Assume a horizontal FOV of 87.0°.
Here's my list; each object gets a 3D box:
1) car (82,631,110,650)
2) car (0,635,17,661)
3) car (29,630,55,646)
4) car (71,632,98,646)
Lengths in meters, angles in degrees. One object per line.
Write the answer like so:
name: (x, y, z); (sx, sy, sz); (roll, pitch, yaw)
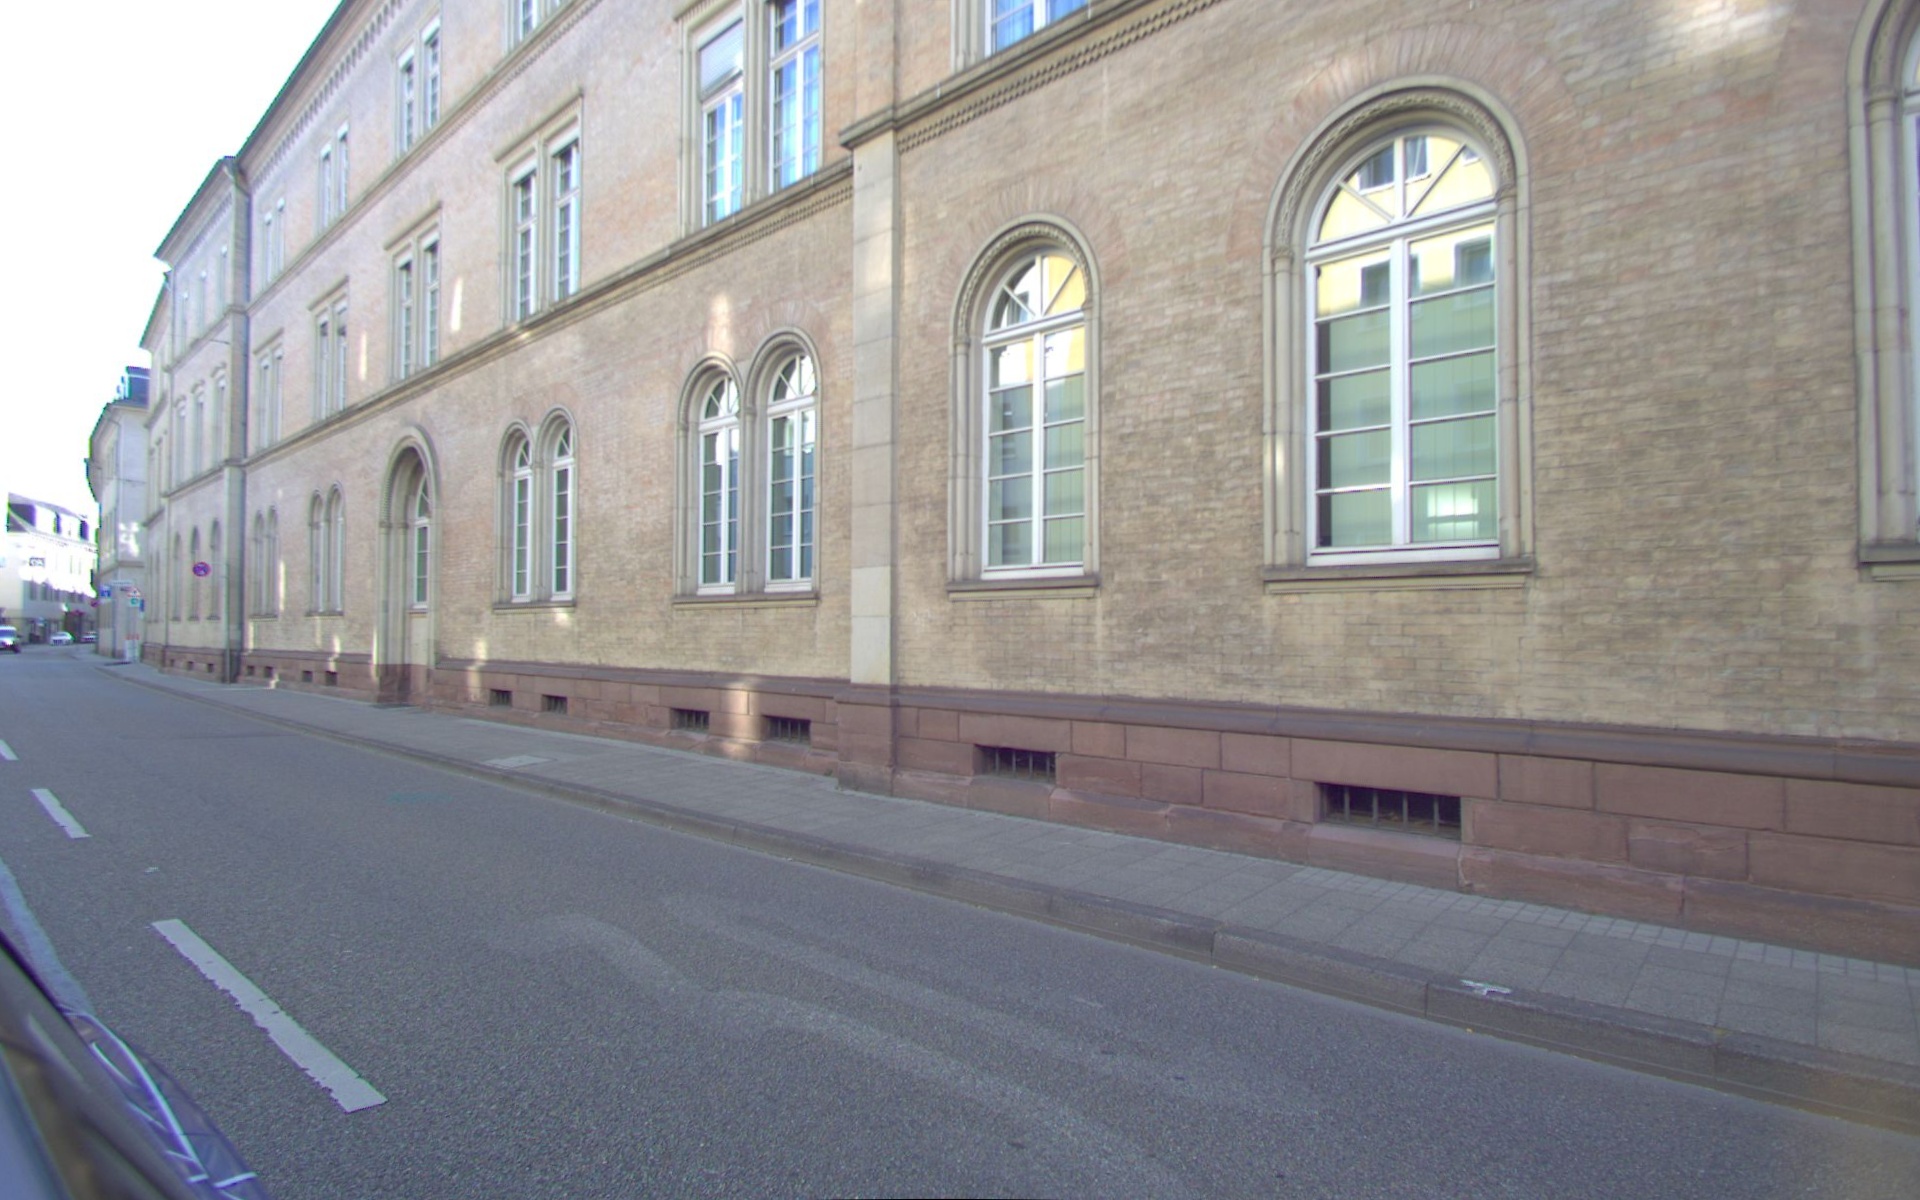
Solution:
car: (-80.234, 3.751, 93.979); (1.638, 1.737, 3.748); (1, -2, -36)
car: (-65.374, 3.230, 68.664); (1.895, 1.735, 4.966); (2, -3, -42)
car: (-102.453, 4.189, 112.975); (1.511, 1.737, 3.749); (1, -2, -34)
car: (-109.357, 4.859, 126.444); (1.896, 1.737, 4.242); (1, -2, -31)
